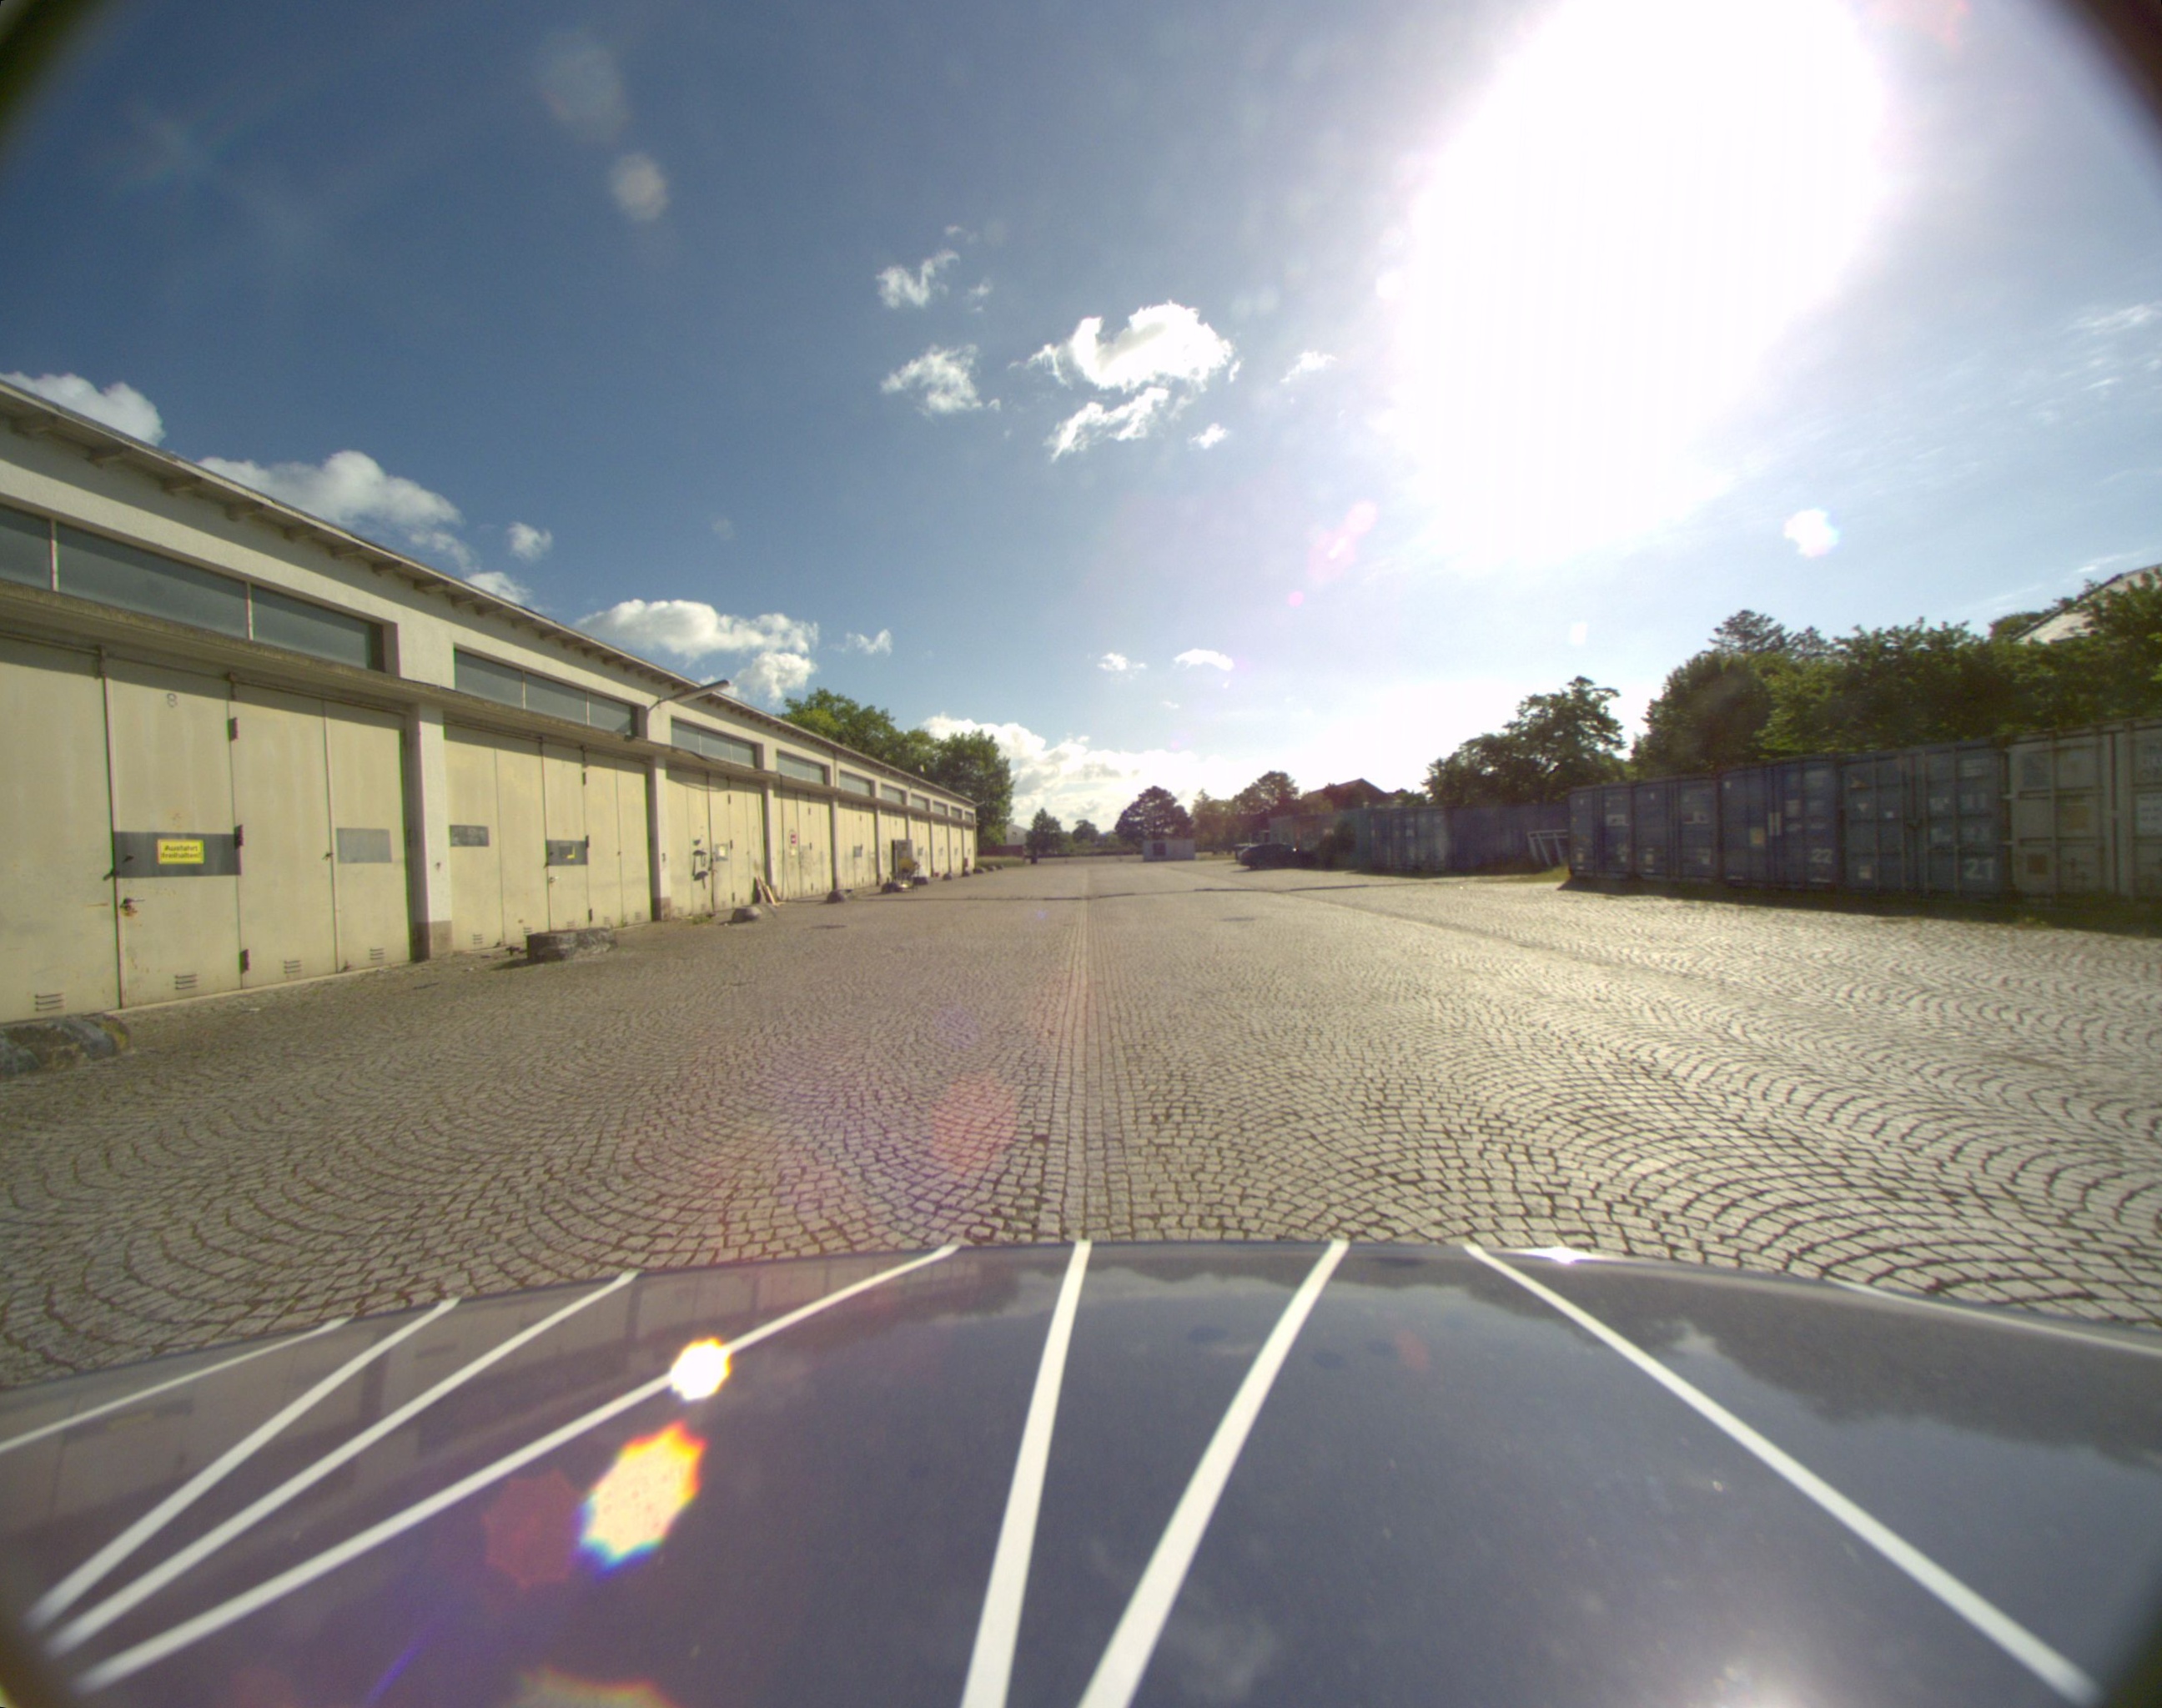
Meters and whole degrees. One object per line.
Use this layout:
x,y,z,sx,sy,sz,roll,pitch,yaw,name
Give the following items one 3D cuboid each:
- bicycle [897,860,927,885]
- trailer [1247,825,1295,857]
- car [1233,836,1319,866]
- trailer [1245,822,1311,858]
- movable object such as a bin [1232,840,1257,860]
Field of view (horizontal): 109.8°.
-8.243,0.893,37.121,0.665,1.062,1.825,-3,1,13,bicycle
15.701,-1.089,62.915,3.393,2.456,2.044,-3,2,1,trailer
10.988,-0.160,42.974,4.263,1.441,1.931,-3,1,-1,car
15.654,-1.103,60.464,4.649,2.553,1.950,-3,2,-3,trailer
12.764,-0.296,59.349,1.434,1.450,1.158,-2,2,43,movable object such as a bin
